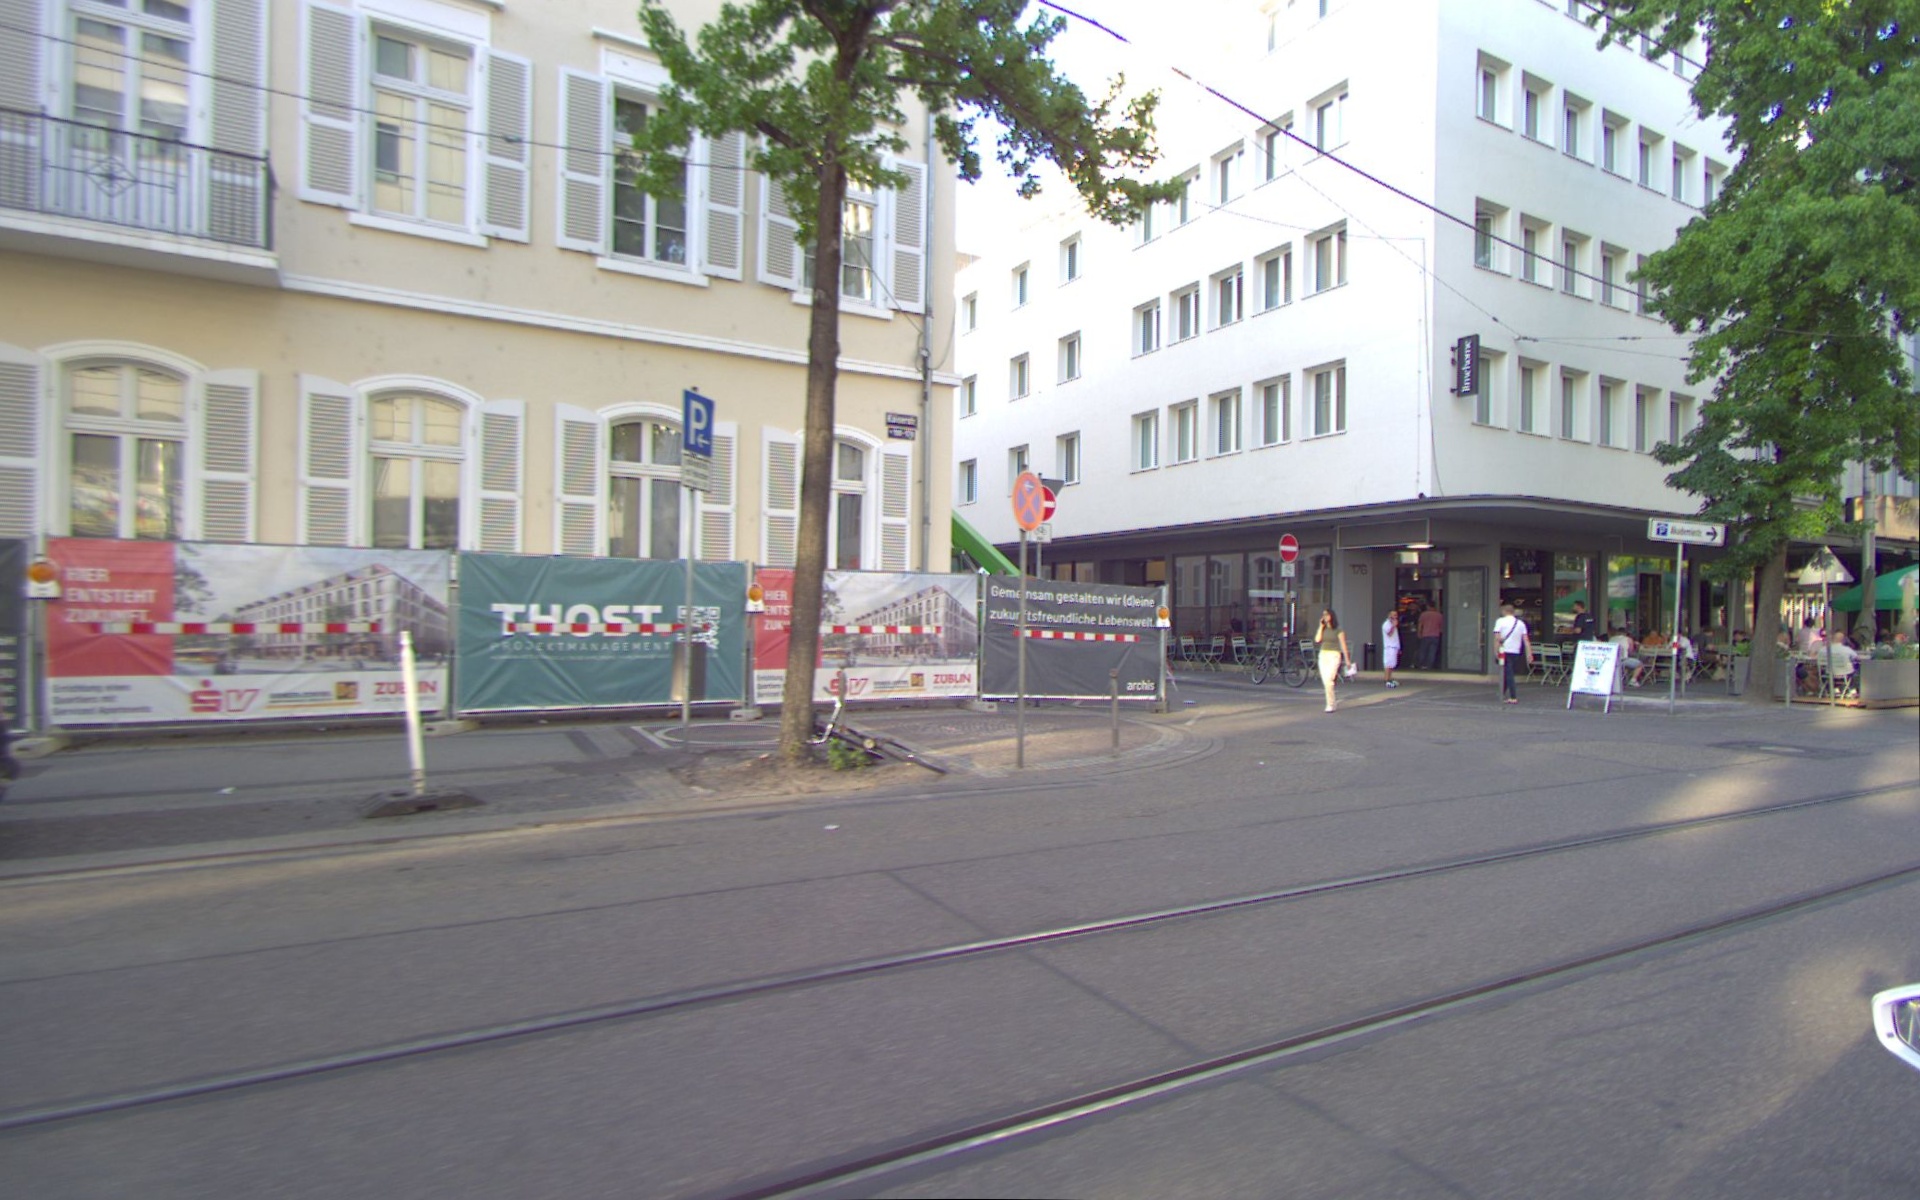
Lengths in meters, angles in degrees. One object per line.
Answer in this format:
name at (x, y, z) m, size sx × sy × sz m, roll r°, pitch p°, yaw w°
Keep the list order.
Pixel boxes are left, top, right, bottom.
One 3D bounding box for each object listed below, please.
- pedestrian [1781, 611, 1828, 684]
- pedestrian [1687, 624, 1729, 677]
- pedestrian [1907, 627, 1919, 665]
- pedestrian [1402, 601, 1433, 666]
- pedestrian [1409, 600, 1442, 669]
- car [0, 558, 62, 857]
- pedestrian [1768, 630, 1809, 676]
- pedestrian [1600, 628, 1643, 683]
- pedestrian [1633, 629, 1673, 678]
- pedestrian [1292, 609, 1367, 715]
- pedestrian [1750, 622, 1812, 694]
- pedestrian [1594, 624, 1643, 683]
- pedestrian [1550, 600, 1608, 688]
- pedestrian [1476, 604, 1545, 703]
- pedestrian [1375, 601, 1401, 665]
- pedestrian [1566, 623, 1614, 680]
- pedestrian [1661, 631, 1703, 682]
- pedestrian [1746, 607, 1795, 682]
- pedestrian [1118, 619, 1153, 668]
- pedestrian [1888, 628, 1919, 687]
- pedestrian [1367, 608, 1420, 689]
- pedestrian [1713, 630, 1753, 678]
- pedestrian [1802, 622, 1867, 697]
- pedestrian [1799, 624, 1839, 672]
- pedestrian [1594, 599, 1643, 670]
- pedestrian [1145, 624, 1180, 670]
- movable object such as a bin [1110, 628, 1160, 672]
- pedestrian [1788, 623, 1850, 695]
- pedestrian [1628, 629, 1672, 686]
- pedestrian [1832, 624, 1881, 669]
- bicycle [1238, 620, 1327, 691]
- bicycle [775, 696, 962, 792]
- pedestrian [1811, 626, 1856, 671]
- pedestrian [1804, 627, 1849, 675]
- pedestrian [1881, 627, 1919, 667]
pedestrian at (20.184, 1.133, 24.010) m, size 0.689 × 1.693 × 0.616 m, roll 1°, pitch 1°, yaw -30°
pedestrian at (19.014, 1.278, 25.532) m, size 0.678 × 1.316 × 0.599 m, roll 1°, pitch 1°, yaw -29°
pedestrian at (31.537, 1.514, 32.666) m, size 1.052 × 1.204 × 0.749 m, roll 1°, pitch 2°, yaw -30°
pedestrian at (11.521, 0.846, 25.301) m, size 0.608 × 1.625 × 0.405 m, roll 1°, pitch 0°, yaw 4°
pedestrian at (11.230, 0.826, 24.247) m, size 0.608 × 1.625 × 0.405 m, roll 1°, pitch 0°, yaw 4°
car at (-7.980, 0.629, 5.276) m, size 4.502 × 1.857 × 1.850 m, roll 1°, pitch 0°, yaw -28°
pedestrian at (21.952, 1.397, 26.624) m, size 0.678 × 1.190 × 0.599 m, roll 1°, pitch 1°, yaw -29°
pedestrian at (15.518, 1.285, 23.563) m, size 0.678 × 1.252 × 0.550 m, roll 1°, pitch 1°, yaw -29°
pedestrian at (17.043, 1.303, 24.702) m, size 0.678 × 1.177 × 0.550 m, roll 1°, pitch 1°, yaw -29°
pedestrian at (6.084, 0.995, 16.538) m, size 0.955 × 1.678 × 0.704 m, roll 0°, pitch 0°, yaw -28°
pedestrian at (16.661, 1.159, 20.384) m, size 0.797 × 1.405 × 0.686 m, roll 1°, pitch 1°, yaw -29°
pedestrian at (14.869, 1.196, 22.688) m, size 0.719 × 1.299 × 0.624 m, roll 1°, pitch 1°, yaw -29°
pedestrian at (13.232, 0.931, 21.477) m, size 0.751 × 1.840 × 0.685 m, roll 1°, pitch 1°, yaw -14°
pedestrian at (10.002, 0.960, 18.289) m, size 0.848 × 1.764 × 0.798 m, roll 0°, pitch 0°, yaw 4°
pedestrian at (11.065, 0.847, 25.960) m, size 0.492 × 1.625 × 0.619 m, roll 0°, pitch 0°, yaw 35°
pedestrian at (14.621, 1.184, 23.304) m, size 0.729 × 1.286 × 0.642 m, roll 1°, pitch 1°, yaw -29°
pedestrian at (17.335, 1.353, 24.128) m, size 0.678 × 1.177 × 0.550 m, roll 1°, pitch 1°, yaw -29°
pedestrian at (19.755, 1.069, 24.492) m, size 0.688 × 1.780 × 0.675 m, roll 1°, pitch 1°, yaw -28°
pedestrian at (4.975, 1.226, 28.507) m, size 0.611 × 1.353 × 0.768 m, roll -1°, pitch 0°, yaw -31°
pedestrian at (22.896, 1.377, 24.068) m, size 0.771 × 1.365 × 0.705 m, roll 1°, pitch 1°, yaw -27°
pedestrian at (9.222, 1.006, 21.357) m, size 0.787 × 1.636 × 0.860 m, roll 1°, pitch 2°, yaw 44°
pedestrian at (19.837, 1.369, 25.780) m, size 0.678 × 1.177 × 0.550 m, roll 1°, pitch 1°, yaw -29°
pedestrian at (17.134, 1.157, 19.683) m, size 0.797 × 1.405 × 0.686 m, roll 1°, pitch 1°, yaw -29°
pedestrian at (24.658, 1.366, 28.830) m, size 0.689 × 1.327 × 0.616 m, roll 1°, pitch 2°, yaw -30°
pedestrian at (17.057, 0.886, 26.026) m, size 0.746 × 1.815 × 0.685 m, roll 1°, pitch 1°, yaw -14°
pedestrian at (5.560, 1.275, 27.568) m, size 0.611 × 1.218 × 0.687 m, roll -1°, pitch 0°, yaw -31°
movable object such as a bin at (4.804, 1.366, 27.658) m, size 0.846 × 1.129 × 1.109 m, roll -1°, pitch 0°, yaw -31°
pedestrian at (17.627, 1.192, 20.616) m, size 0.797 × 1.405 × 0.686 m, roll 1°, pitch 1°, yaw -29°
pedestrian at (15.876, 1.313, 23.118) m, size 0.678 × 1.252 × 0.550 m, roll 1°, pitch 1°, yaw -29°
pedestrian at (26.557, 1.378, 29.760) m, size 0.934 × 1.254 × 0.773 m, roll 1°, pitch 2°, yaw -30°
bicycle at (6.943, 1.165, 21.728) m, size 0.703 × 1.399 × 1.867 m, roll -2°, pitch 1°, yaw -27°
bicycle at (-0.940, 1.353, 9.776) m, size 1.265 × 0.617 × 1.789 m, roll 1°, pitch 0°, yaw -26°
pedestrian at (25.416, 1.402, 29.231) m, size 0.778 × 1.248 × 0.733 m, roll 1°, pitch 2°, yaw -30°
pedestrian at (23.698, 1.382, 27.470) m, size 0.789 × 1.259 × 0.666 m, roll 1°, pitch 1°, yaw -30°
pedestrian at (29.443, 1.462, 31.410) m, size 0.779 × 1.184 × 0.696 m, roll 1°, pitch 2°, yaw -30°
